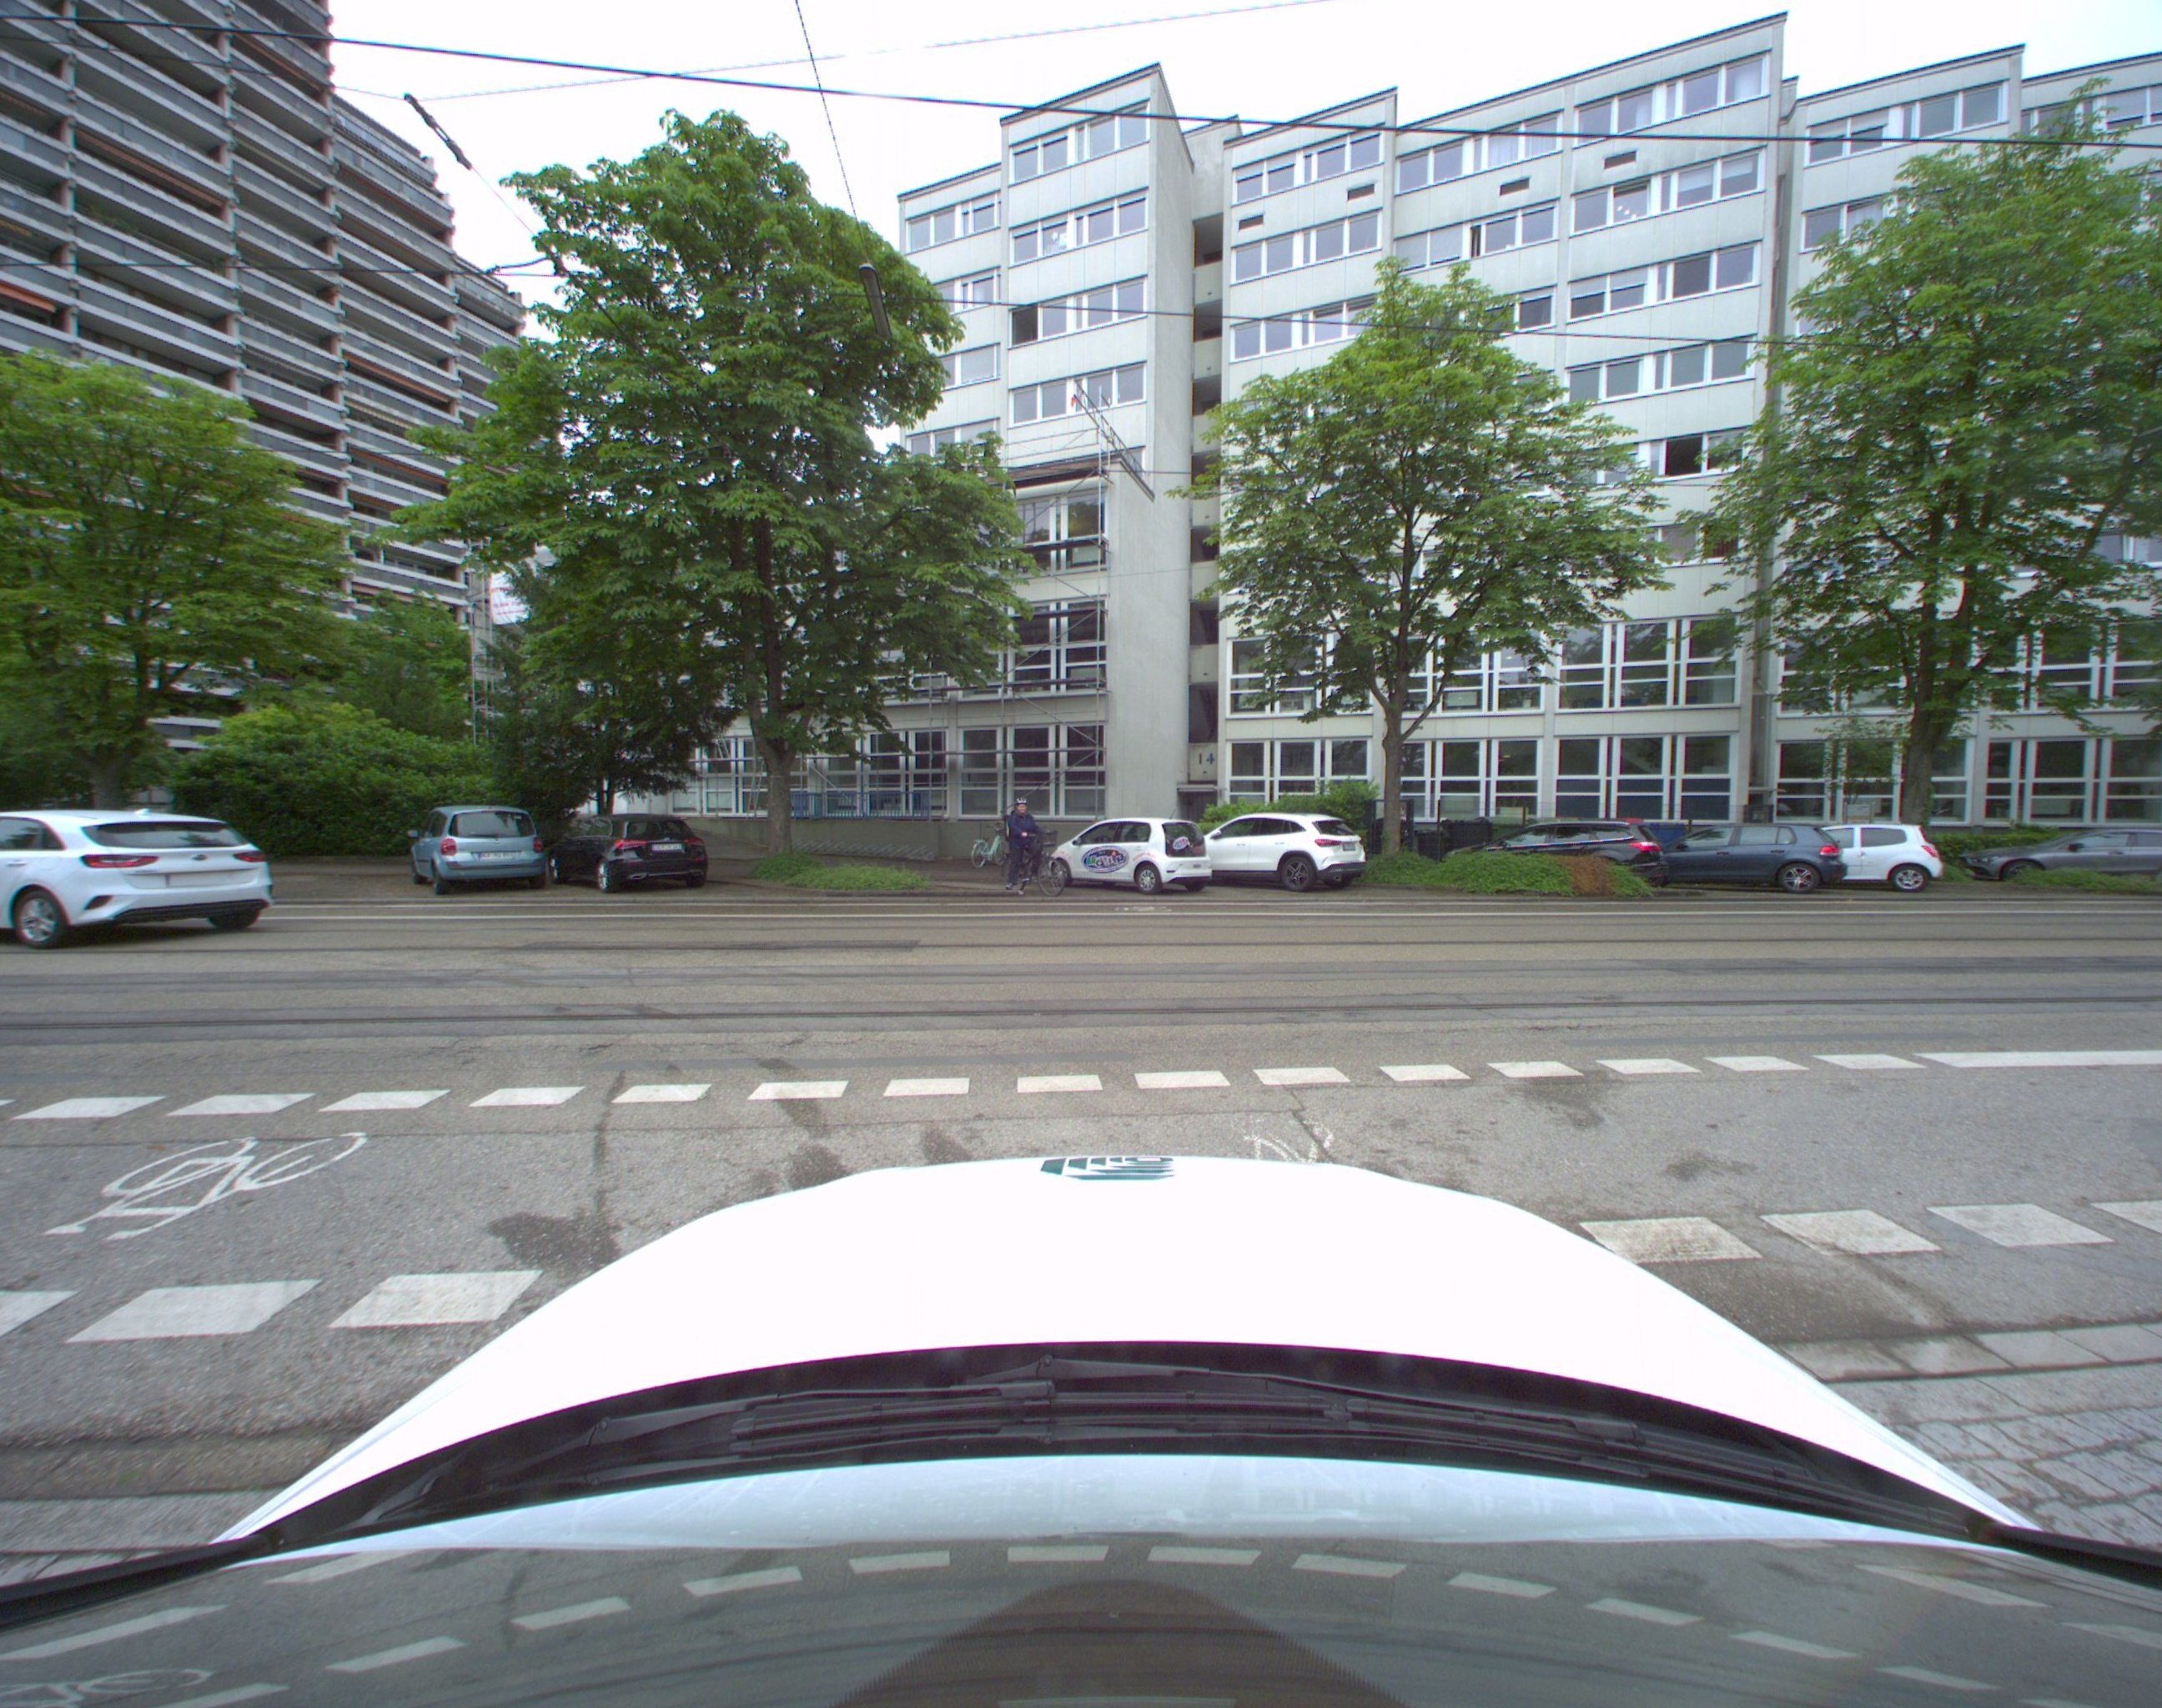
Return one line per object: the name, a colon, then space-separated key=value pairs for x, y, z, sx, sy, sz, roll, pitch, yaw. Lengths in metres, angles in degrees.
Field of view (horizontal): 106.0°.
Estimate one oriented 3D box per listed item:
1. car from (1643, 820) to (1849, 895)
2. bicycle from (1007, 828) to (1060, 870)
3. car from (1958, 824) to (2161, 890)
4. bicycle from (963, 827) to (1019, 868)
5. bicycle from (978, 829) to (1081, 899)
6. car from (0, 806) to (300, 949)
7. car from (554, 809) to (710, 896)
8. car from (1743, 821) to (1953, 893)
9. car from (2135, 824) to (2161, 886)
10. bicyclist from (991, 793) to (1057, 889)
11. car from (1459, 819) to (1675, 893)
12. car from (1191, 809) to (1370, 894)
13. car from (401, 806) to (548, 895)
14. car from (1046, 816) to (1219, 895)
car: x=14.306 y=0.015 z=17.639 sx=3.347 sy=1.473 sz=1.426 roll=1 pitch=3 yaw=43
bicycle: x=-1.281 y=-0.158 z=22.591 sx=0.639 sy=1.074 sz=2.323 roll=1 pitch=2 yaw=19
car: x=23.915 y=0.063 z=19.058 sx=4.440 sy=1.473 sz=1.426 roll=1 pitch=0 yaw=39
bicycle: x=-2.509 y=-0.204 z=23.111 sx=0.639 sy=1.074 sz=2.323 roll=1 pitch=2 yaw=19
bicycle: x=-0.981 y=0.150 z=15.053 sx=1.892 sy=1.173 sz=0.827 roll=3 pitch=4 yaw=43
car: x=-11.766 y=0.177 z=9.448 sx=3.943 sy=1.432 sz=1.786 roll=1 pitch=3 yaw=8
car: x=-8.770 y=-0.082 z=15.827 sx=3.295 sy=1.510 sz=1.629 roll=1 pitch=3 yaw=42
car: x=17.218 y=0.003 z=18.466 sx=3.347 sy=1.473 sz=1.426 roll=1 pitch=3 yaw=43
car: x=27.361 y=0.048 z=18.871 sx=3.348 sy=1.473 sz=1.425 roll=2 pitch=3 yaw=42
bicyclist: x=-1.063 y=-0.256 z=15.117 sx=0.886 sy=1.697 sz=0.839 roll=2 pitch=3 yaw=44
car: x=10.662 y=-0.017 z=17.997 sx=3.904 sy=1.473 sz=1.684 roll=1 pitch=3 yaw=39
car: x=4.177 y=-0.112 z=17.327 sx=1.566 sy=1.617 sz=3.366 roll=-2 pitch=3 yaw=-45
car: x=-11.716 y=-0.133 z=15.683 sx=3.295 sy=1.536 sz=1.629 roll=2 pitch=3 yaw=42
car: x=0.995 y=-0.029 z=16.807 sx=1.566 sy=1.473 sz=3.366 roll=-2 pitch=3 yaw=-45
